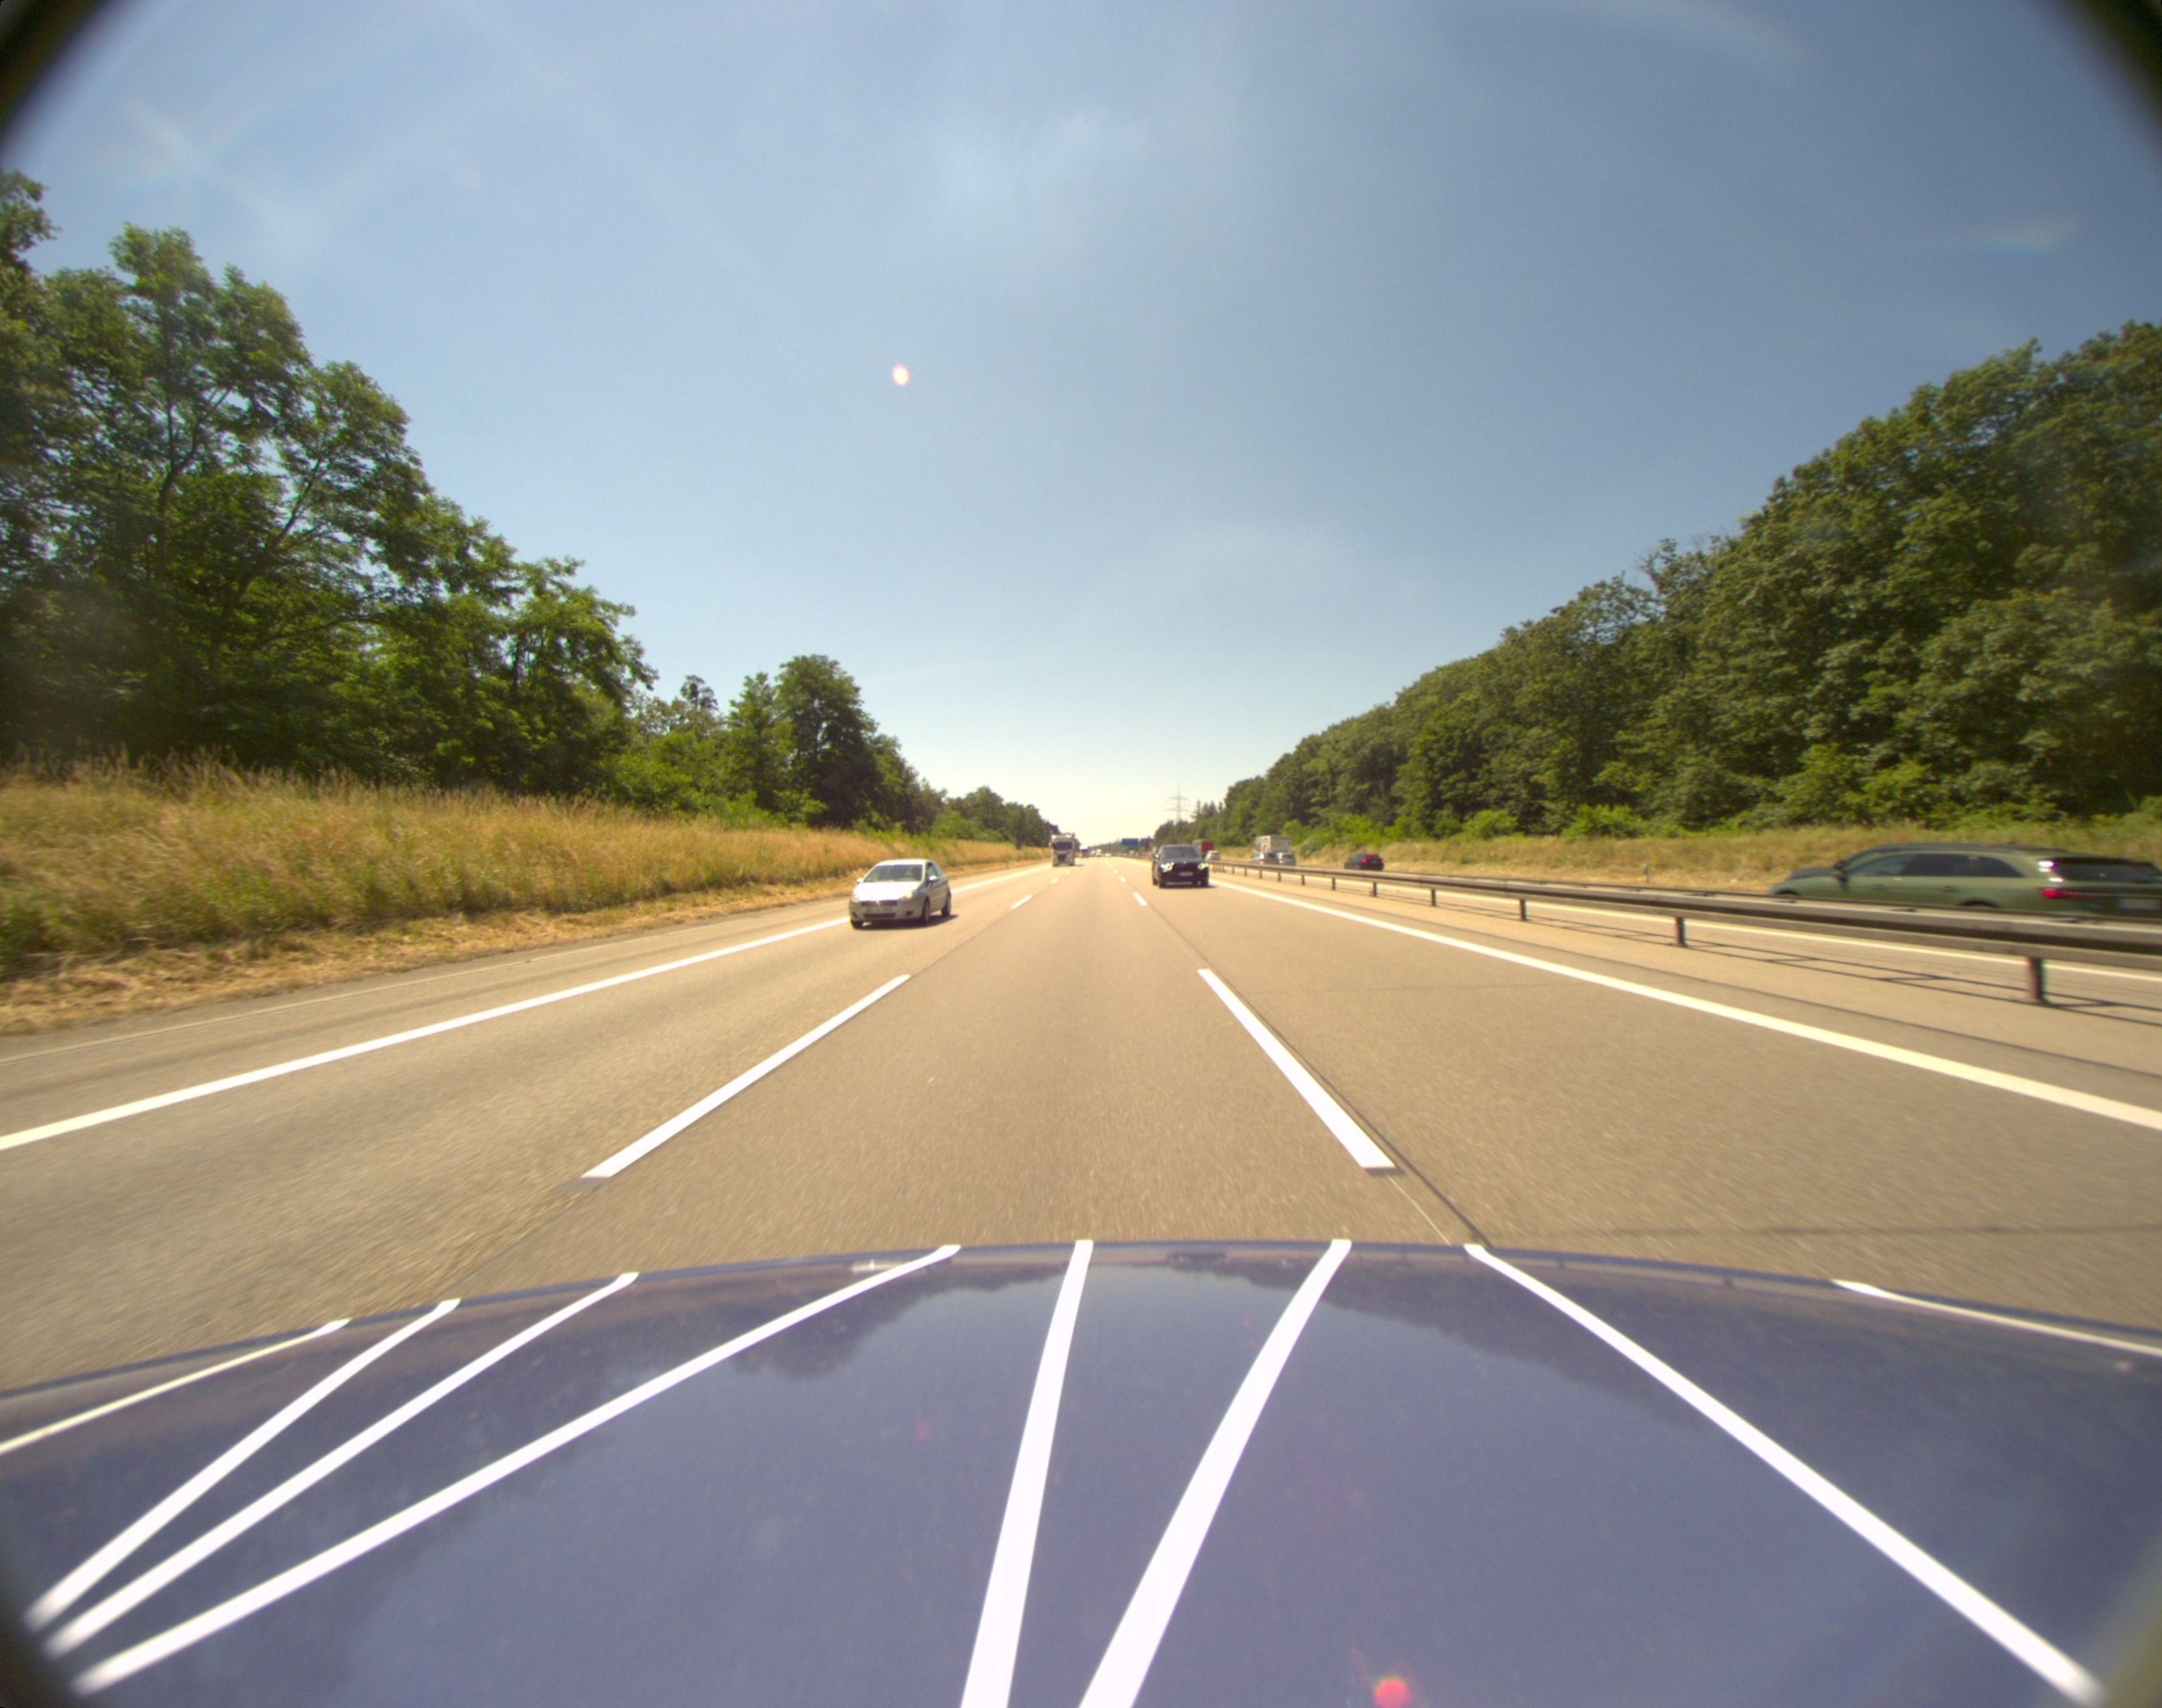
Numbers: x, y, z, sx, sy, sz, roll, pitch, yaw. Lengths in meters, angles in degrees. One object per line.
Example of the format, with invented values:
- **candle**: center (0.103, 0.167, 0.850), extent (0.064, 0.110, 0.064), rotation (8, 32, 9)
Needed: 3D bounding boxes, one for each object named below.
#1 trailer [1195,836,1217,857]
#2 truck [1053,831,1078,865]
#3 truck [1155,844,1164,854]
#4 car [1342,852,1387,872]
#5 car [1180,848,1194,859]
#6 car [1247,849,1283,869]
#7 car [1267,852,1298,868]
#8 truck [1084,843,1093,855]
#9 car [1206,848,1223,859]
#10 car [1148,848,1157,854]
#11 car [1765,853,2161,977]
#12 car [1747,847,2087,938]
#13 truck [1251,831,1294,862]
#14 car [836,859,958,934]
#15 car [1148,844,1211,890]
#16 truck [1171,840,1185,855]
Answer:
- **trailer**: center (25.486, -1.471, 155.439), extent (2.511, 3.991, 14.367), rotation (2, 1, 2)
- **truck**: center (-1.875, -0.726, 92.240), extent (2.605, 3.811, 5.969), rotation (-2, 0, 2)
- **truck**: center (21.772, -1.283, 210.775), extent (2.088, 2.608, 8.031), rotation (2, 1, 2)
- **car**: center (22.337, 0.609, 60.096), extent (1.658, 1.403, 5.176), rotation (2, 1, 1)
- **car**: center (15.785, -0.076, 113.040), extent (1.520, 1.459, 3.639), rotation (2, 1, 1)
- **car**: center (15.130, 0.379, 62.818), extent (1.766, 1.451, 5.120), rotation (2, 1, 1)
- **car**: center (19.117, 0.563, 72.281), extent (1.766, 1.399, 4.352), rotation (2, 1, 1)
- **truck**: center (2.579, -1.551, 243.469), extent (2.592, 3.534, 8.649), rotation (-2, 0, 2)
- **car**: center (19.881, -0.068, 113.213), extent (1.731, 1.636, 5.088), rotation (2, 1, 1)
- **car**: center (17.264, -0.651, 183.700), extent (1.608, 1.391, 4.544), rotation (2, 1, 1)
- **car**: center (13.125, 0.745, 11.331), extent (1.702, 1.421, 4.574), rotation (2, 1, 1)
- **car**: center (17.444, 0.681, 16.369), extent (1.799, 1.609, 4.986), rotation (2, 1, 1)
- **truck**: center (23.597, -0.924, 94.008), extent (2.739, 3.498, 10.441), rotation (2, 1, 1)
- **car**: center (-4.213, 0.916, 18.079), extent (1.749, 1.457, 3.980), rotation (-2, 1, 2)
- **car**: center (4.084, 0.484, 32.428), extent (1.945, 1.742, 5.813), rotation (-2, 0, 1)
- **truck**: center (23.190, -1.533, 182.656), extent (2.463, 3.585, 8.119), rotation (2, 1, 2)
